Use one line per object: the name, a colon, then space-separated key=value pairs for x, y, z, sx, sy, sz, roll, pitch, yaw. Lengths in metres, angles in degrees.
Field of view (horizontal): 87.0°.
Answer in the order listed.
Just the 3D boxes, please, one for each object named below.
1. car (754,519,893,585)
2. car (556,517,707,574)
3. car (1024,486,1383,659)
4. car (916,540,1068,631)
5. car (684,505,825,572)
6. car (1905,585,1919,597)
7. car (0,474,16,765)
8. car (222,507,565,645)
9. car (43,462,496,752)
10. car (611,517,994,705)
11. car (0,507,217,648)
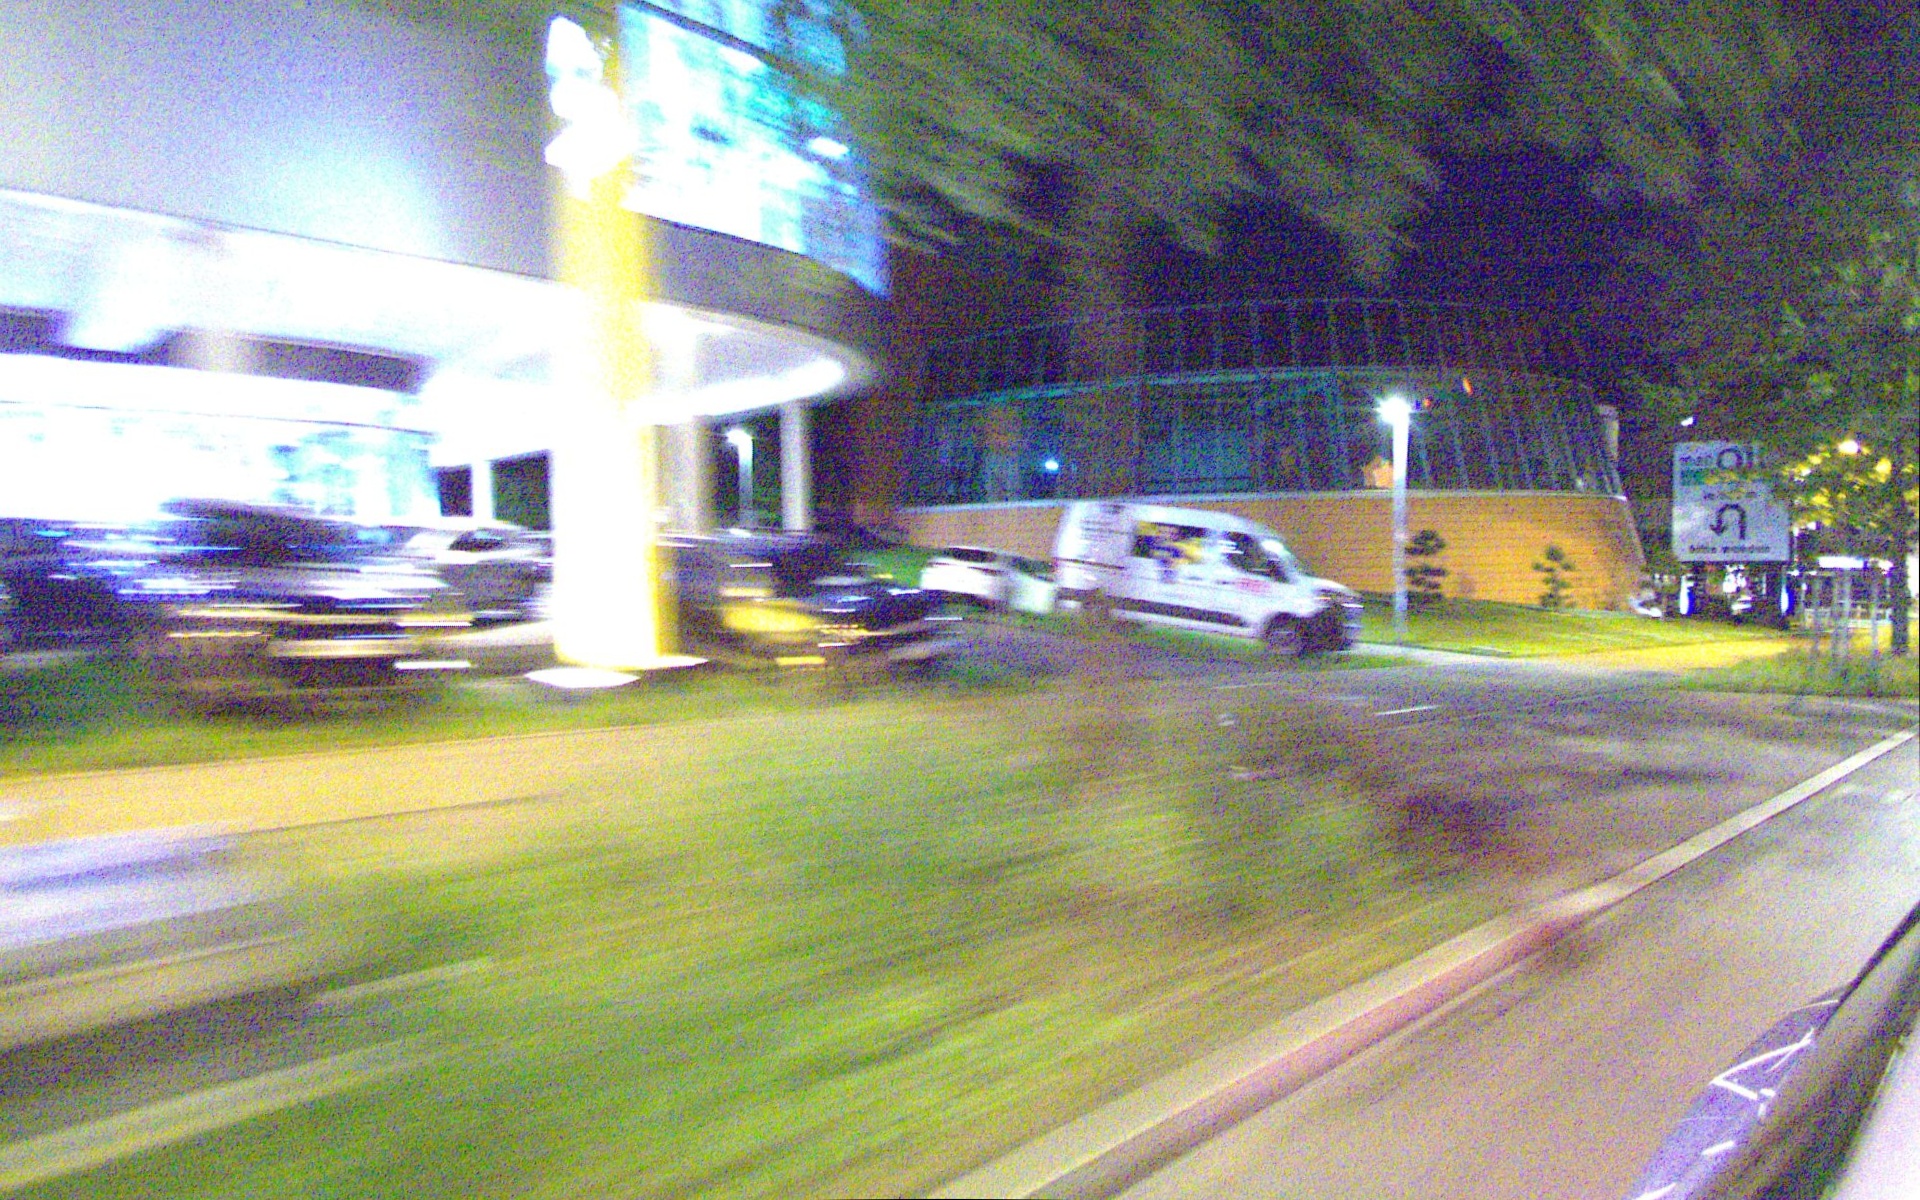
car: x=-3.562 y=-1.263 z=27.113 sx=1.782 sy=1.597 sz=3.932 roll=3 pitch=2 yaw=26
car: x=-10.436 y=-1.680 z=32.549 sx=1.980 sy=1.682 sz=4.626 roll=0 pitch=2 yaw=26
car: x=4.440 y=-0.645 z=18.991 sx=5.997 sy=2.559 sz=2.257 roll=7 pitch=4 yaw=33
car: x=0.800 y=-0.358 z=22.082 sx=1.794 sy=1.733 sz=3.932 roll=3 pitch=3 yaw=26
car: x=-5.650 y=-1.679 z=28.287 sx=1.766 sy=1.620 sz=3.932 roll=6 pitch=4 yaw=26
car: x=88.958 y=-0.778 z=92.228 sx=3.934 sy=1.047 sz=1.480 roll=2 pitch=1 yaw=9
car: x=-7.895 y=-0.082 z=6.574 sx=4.456 sy=1.707 sz=1.972 roll=7 pitch=4 yaw=39
car: x=-7.417 y=-0.440 z=13.862 sx=1.692 sy=1.528 sz=4.436 roll=3 pitch=4 yaw=10
car: x=-5.995 y=-0.093 z=8.575 sx=4.454 sy=1.832 sz=1.972 roll=4 pitch=3 yaw=39
car: x=-1.893 y=-0.015 z=11.412 sx=4.196 sy=1.683 sz=1.934 roll=5 pitch=3 yaw=39
car: x=-10.440 y=-0.277 z=11.132 sx=1.613 sy=1.439 sz=3.492 roll=1 pitch=3 yaw=12
